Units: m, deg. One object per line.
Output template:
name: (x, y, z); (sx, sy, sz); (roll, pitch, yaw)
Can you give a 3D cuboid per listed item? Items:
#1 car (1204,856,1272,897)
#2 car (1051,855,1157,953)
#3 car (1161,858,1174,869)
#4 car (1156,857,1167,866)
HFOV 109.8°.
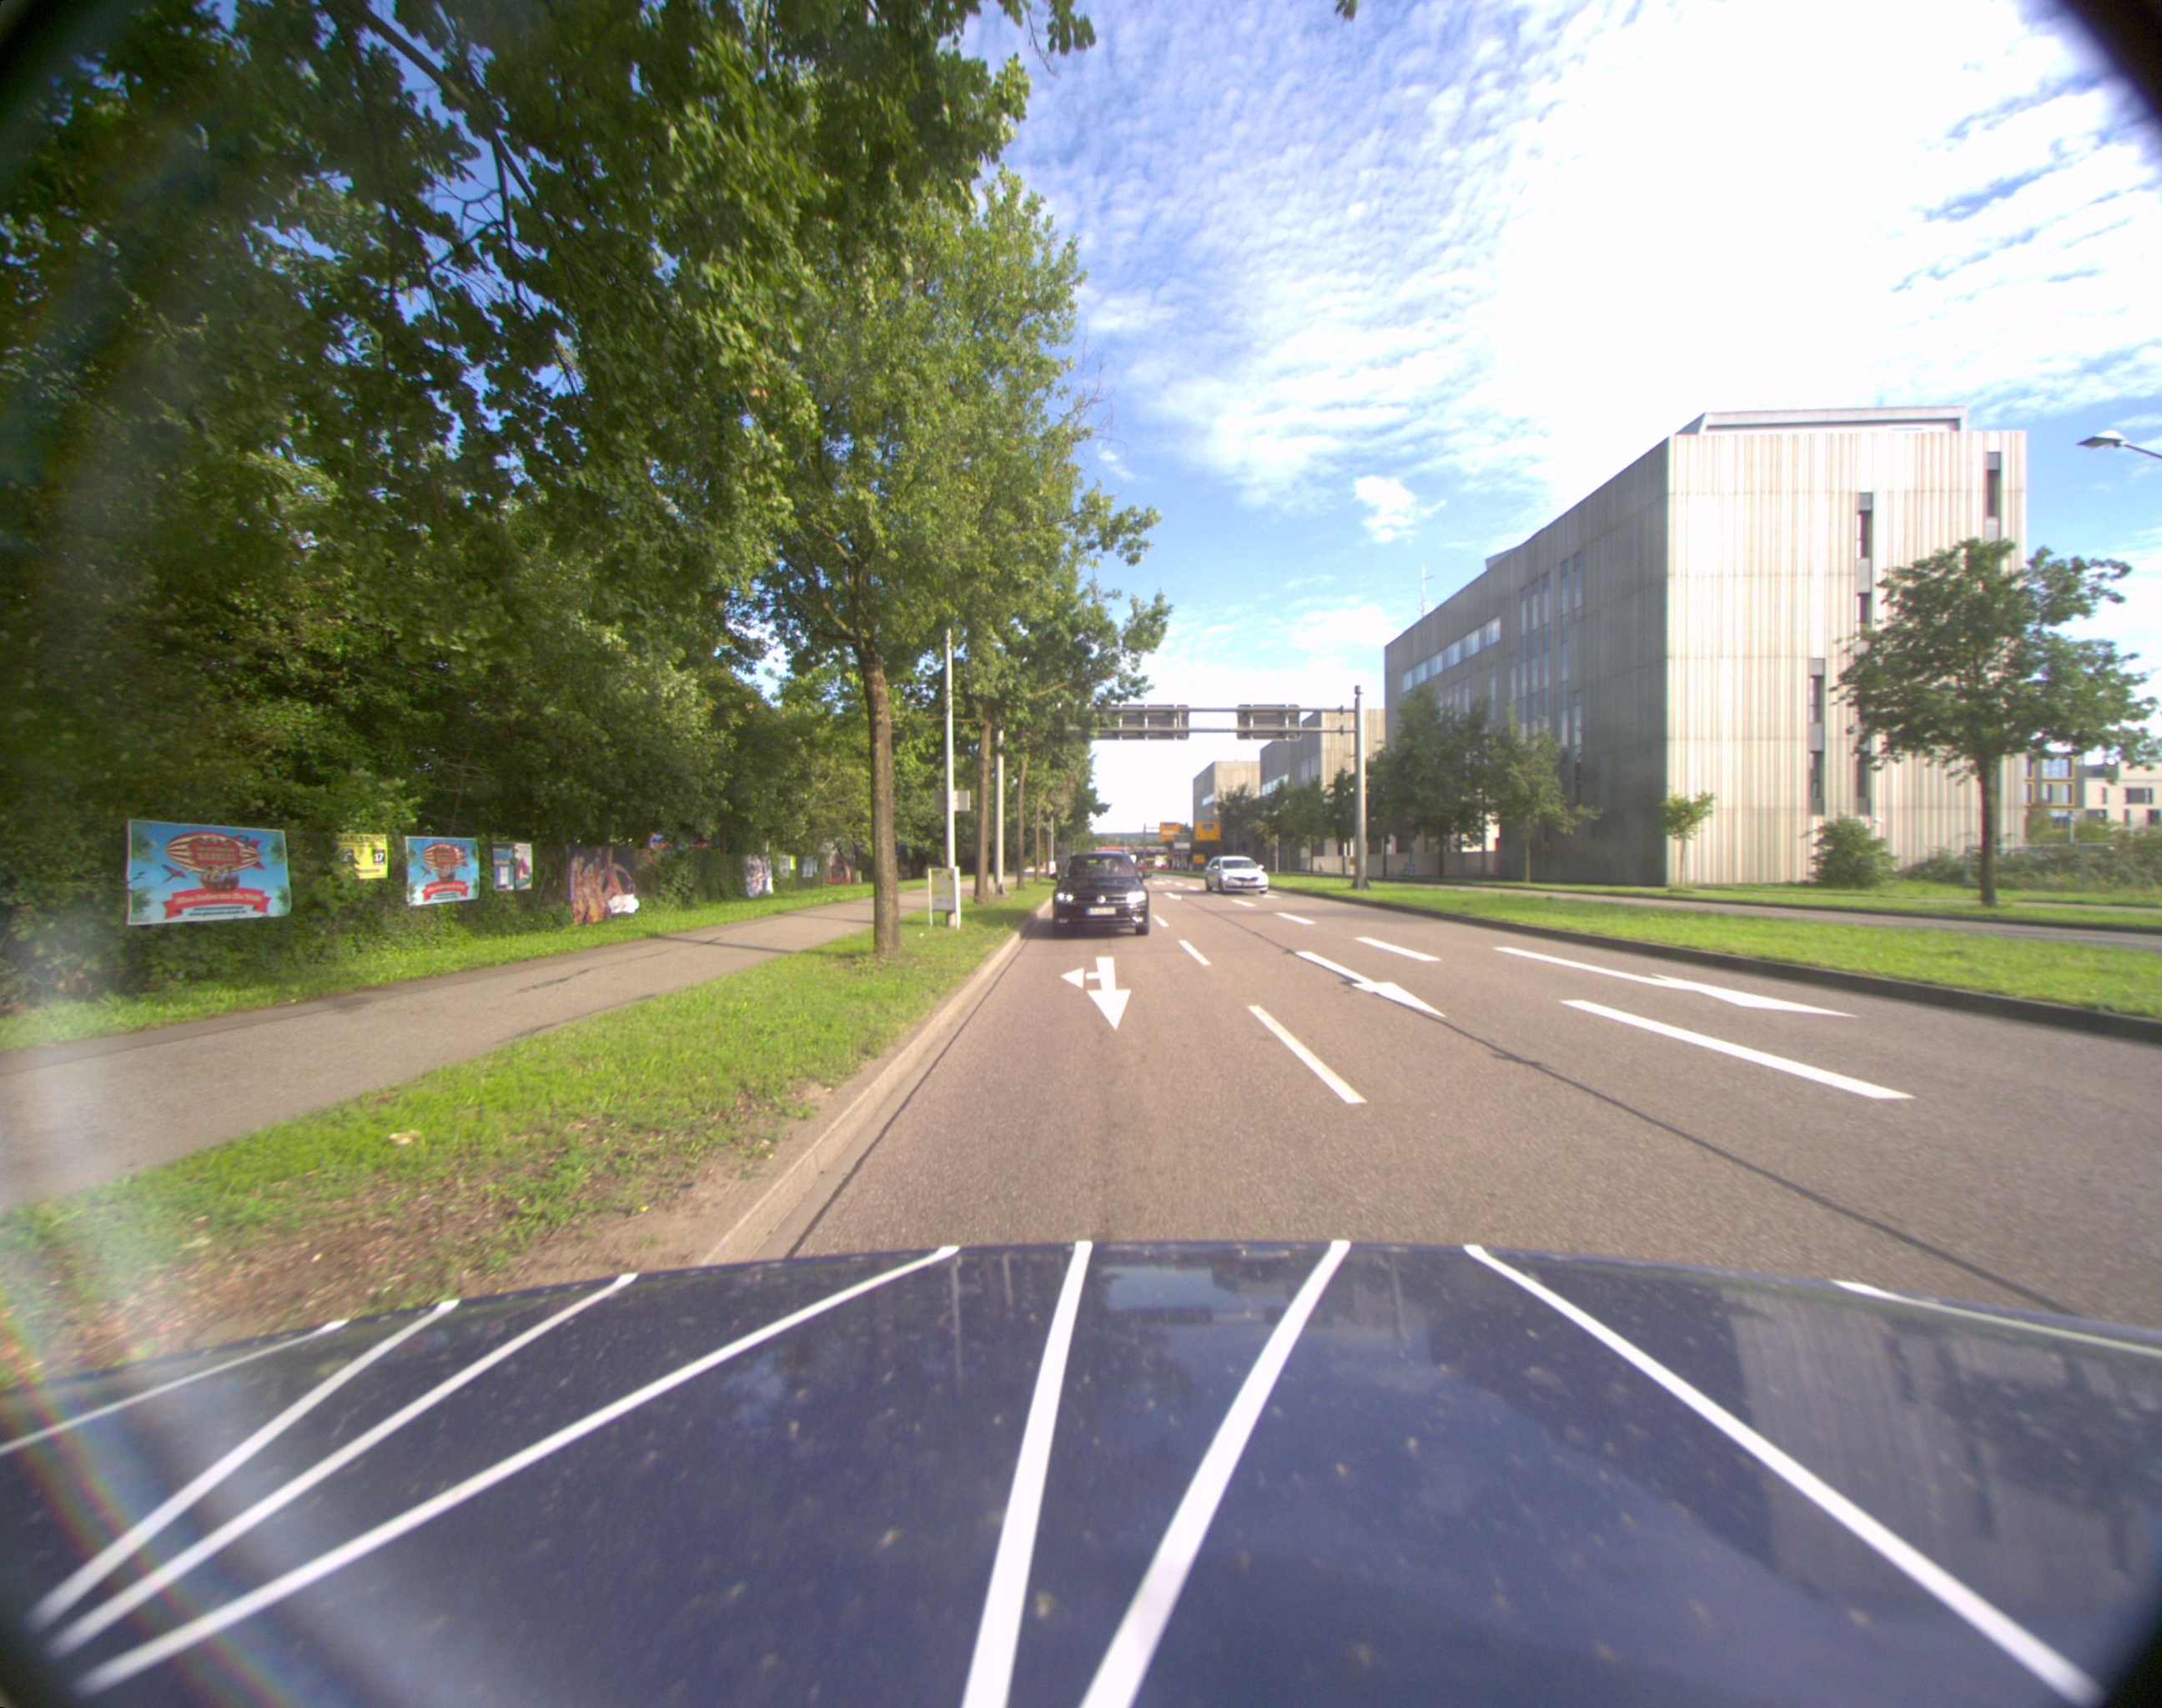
car: (6.175, 0.841, 30.386); (1.703, 1.489, 4.481); (-1, 0, -1)
car: (0.438, 0.863, 15.015); (1.775, 1.637, 3.869); (-2, 0, 1)
car: (16.479, 1.828, 145.013); (1.998, 2.002, 4.000); (0, 0, 0)
car: (17.008, 1.546, 160.291); (1.998, 2.002, 3.983); (0, 0, 0)
